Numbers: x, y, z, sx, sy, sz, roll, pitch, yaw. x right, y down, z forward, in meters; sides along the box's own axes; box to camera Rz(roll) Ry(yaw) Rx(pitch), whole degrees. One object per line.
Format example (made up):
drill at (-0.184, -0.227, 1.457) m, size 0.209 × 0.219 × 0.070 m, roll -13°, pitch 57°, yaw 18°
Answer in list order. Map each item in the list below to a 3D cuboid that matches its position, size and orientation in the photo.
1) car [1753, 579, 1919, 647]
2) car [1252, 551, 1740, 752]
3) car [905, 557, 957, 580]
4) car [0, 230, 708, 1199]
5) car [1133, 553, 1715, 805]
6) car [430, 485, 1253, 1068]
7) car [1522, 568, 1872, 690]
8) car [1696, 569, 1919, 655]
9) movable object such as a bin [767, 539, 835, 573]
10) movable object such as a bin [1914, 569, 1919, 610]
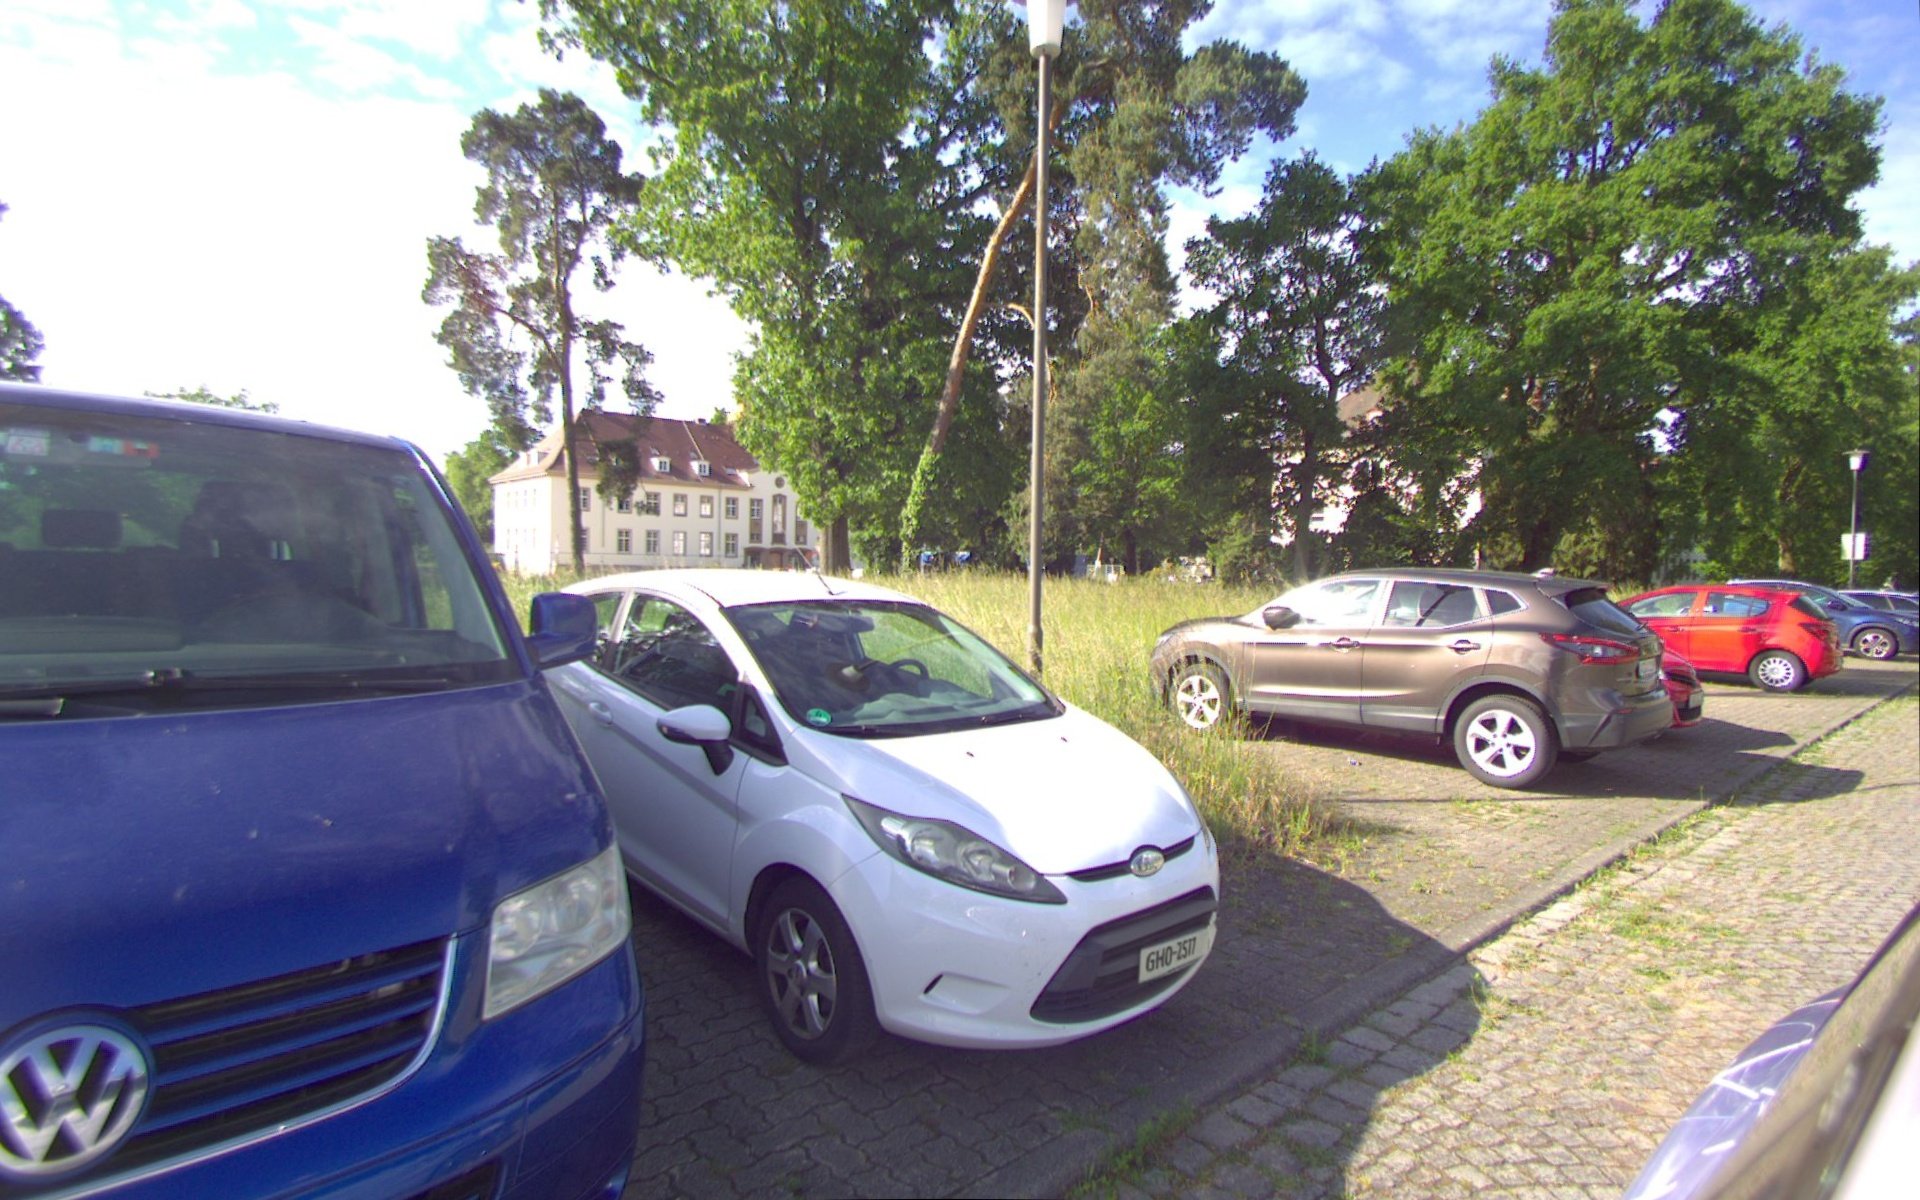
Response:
car at (22.562, 0.305, 25.237) m, size 1.754 × 1.440 × 4.094 m, roll 0°, pitch 4°, yaw -42°
car at (5.571, 0.351, 10.929) m, size 1.903 × 1.617 × 4.231 m, roll -1°, pitch 5°, yaw -43°
car at (-2.532, -2.747, 88.218) m, size 4.318 × 1.963 × 1.905 m, roll -2°, pitch 1°, yaw -40°
car at (-2.833, 0.317, 3.294) m, size 1.965 × 1.958 × 4.708 m, roll -1°, pitch 4°, yaw -41°
car at (3.816, 0.433, 8.891) m, size 1.903 × 1.617 × 4.231 m, roll -1°, pitch 4°, yaw -43°
car at (-1.021, 0.342, 5.045) m, size 1.906 × 1.596 × 4.407 m, roll -1°, pitch 4°, yaw -41°
car at (11.351, 0.339, 15.801) m, size 1.821 × 1.477 × 4.094 m, roll 0°, pitch 4°, yaw -42°
car at (18.953, 0.215, 22.297) m, size 1.821 × 1.576 × 4.094 m, roll 0°, pitch 4°, yaw -42°
movable object such as a bin at (-16.350, -4.514, 104.111) m, size 6.336 × 3.342 × 2.863 m, roll -1°, pitch 0°, yaw 6°
movable object such as a bin at (49.174, -0.452, 48.328) m, size 1.959 × 2.039 × 4.882 m, roll 0°, pitch 1°, yaw -28°
